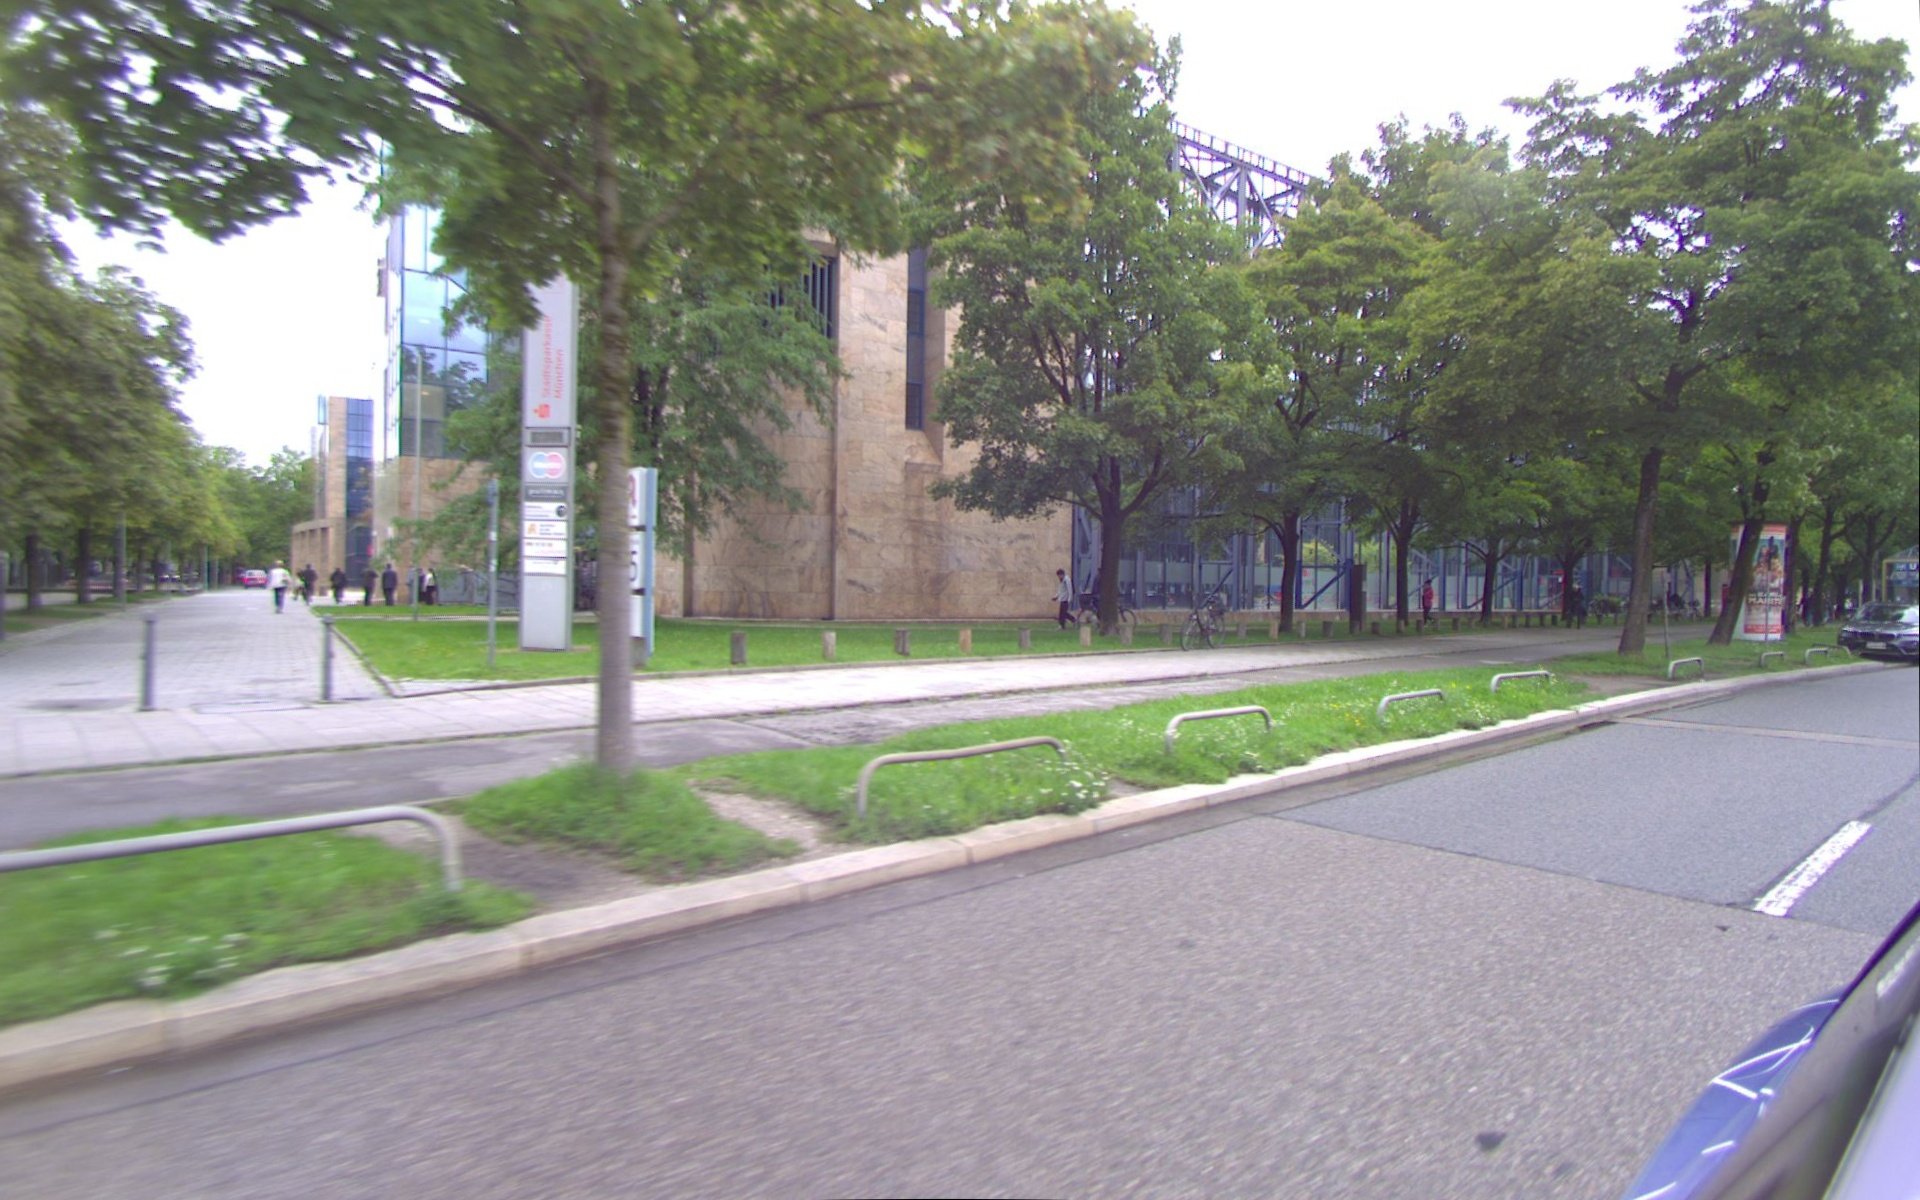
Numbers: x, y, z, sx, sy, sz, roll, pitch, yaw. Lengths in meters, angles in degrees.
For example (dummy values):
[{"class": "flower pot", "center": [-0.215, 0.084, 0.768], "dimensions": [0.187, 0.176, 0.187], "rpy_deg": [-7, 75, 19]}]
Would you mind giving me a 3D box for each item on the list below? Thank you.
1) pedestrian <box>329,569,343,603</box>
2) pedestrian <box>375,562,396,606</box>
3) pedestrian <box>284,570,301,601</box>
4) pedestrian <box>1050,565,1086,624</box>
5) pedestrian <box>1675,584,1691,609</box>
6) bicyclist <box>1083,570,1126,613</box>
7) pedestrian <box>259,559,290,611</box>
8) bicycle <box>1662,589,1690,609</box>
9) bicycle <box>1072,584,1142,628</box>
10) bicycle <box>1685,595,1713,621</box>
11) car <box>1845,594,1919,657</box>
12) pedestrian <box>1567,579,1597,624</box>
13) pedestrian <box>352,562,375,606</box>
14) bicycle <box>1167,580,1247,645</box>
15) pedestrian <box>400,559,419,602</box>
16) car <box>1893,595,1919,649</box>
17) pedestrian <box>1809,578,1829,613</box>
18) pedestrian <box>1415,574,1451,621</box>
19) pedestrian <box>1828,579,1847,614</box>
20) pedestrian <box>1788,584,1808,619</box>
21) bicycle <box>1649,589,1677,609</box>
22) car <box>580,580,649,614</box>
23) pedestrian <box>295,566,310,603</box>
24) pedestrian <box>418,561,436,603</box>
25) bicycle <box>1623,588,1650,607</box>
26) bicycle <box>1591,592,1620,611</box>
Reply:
[{"class": "pedestrian", "center": [-28.860, -0.647, 46.819], "dimensions": [0.503, 1.589, 0.421], "rpy_deg": [1, 1, -25]}, {"class": "pedestrian", "center": [-22.157, -0.614, 39.052], "dimensions": [0.581, 1.699, 0.504], "rpy_deg": [1, 1, -15]}, {"class": "pedestrian", "center": [-34.677, -0.766, 52.585], "dimensions": [0.584, 1.589, 0.421], "rpy_deg": [1, 1, -8]}, {"class": "pedestrian", "center": [3.089, -0.148, 28.984], "dimensions": [0.860, 1.666, 0.574], "rpy_deg": [1, 1, -14]}, {"class": "pedestrian", "center": [35.617, -0.175, 49.837], "dimensions": [0.418, 1.193, 0.507], "rpy_deg": [-1, 3, -35]}, {"class": "bicyclist", "center": [3.929, -0.229, 27.526], "dimensions": [0.939, 1.144, 0.728], "rpy_deg": [1, 1, -11]}, {"class": "pedestrian", "center": [-22.828, -0.500, 33.707], "dimensions": [0.849, 1.699, 0.589], "rpy_deg": [0, 1, -36]}, {"class": "bicycle", "center": [35.746, -0.067, 50.524], "dimensions": [2.102, 0.952, 0.513], "rpy_deg": [0, 1, -37]}, {"class": "bicycle", "center": [3.998, 0.160, 27.547], "dimensions": [1.730, 1.144, 0.728], "rpy_deg": [1, 1, -11]}, {"class": "bicycle", "center": [36.408, 0.375, 49.865], "dimensions": [2.102, 1.207, 0.513], "rpy_deg": [-1, 2, -37]}, {"class": "car", "center": [26.470, 0.652, 28.239], "dimensions": [4.519, 1.610, 1.866], "rpy_deg": [0, 2, -38]}, {"class": "pedestrian", "center": [23.664, 0.055, 38.494], "dimensions": [0.633, 1.665, 0.739], "rpy_deg": [-1, 3, -36]}, {"class": "pedestrian", "center": [-23.064, -0.621, 39.142], "dimensions": [0.585, 1.699, 0.500], "rpy_deg": [1, 1, 16]}, {"class": "bicycle", "center": [5.068, 0.238, 20.724], "dimensions": [1.887, 1.266, 0.621], "rpy_deg": [0, 2, -42]}, {"class": "pedestrian", "center": [-21.645, -0.772, 39.808], "dimensions": [0.582, 1.699, 0.563], "rpy_deg": [0, 1, -37]}, {"class": "car", "center": [30.221, 0.667, 31.212], "dimensions": [3.558, 1.593, 1.555], "rpy_deg": [0, 2, -38]}, {"class": "pedestrian", "center": [43.463, -0.222, 51.221], "dimensions": [0.601, 1.710, 0.612], "rpy_deg": [-1, 3, -40]}, {"class": "pedestrian", "center": [17.083, -0.109, 36.576], "dimensions": [0.845, 1.665, 0.741], "rpy_deg": [0, 3, -21]}, {"class": "pedestrian", "center": [43.858, -0.179, 50.573], "dimensions": [0.649, 1.743, 0.528], "rpy_deg": [-1, 3, -40]}, {"class": "pedestrian", "center": [41.275, 0.067, 49.843], "dimensions": [0.426, 1.661, 0.612], "rpy_deg": [-1, 3, -38]}, {"class": "bicycle", "center": [35.373, -0.059, 50.912], "dimensions": [2.102, 0.952, 0.513], "rpy_deg": [0, 1, -37]}, {"class": "car", "center": [-11.255, -0.123, 33.005], "dimensions": [2.041, 1.026, 0.677], "rpy_deg": [-2, 3, -40]}, {"class": "pedestrian", "center": [-29.052, -0.685, 44.723], "dimensions": [0.504, 1.651, 0.506], "rpy_deg": [0, 1, -30]}, {"class": "pedestrian", "center": [-21.528, -0.739, 40.869], "dimensions": [0.591, 1.699, 0.495], "rpy_deg": [2, 1, 44]}, {"class": "bicycle", "center": [34.089, -0.124, 50.984], "dimensions": [1.730, 0.952, 0.619], "rpy_deg": [0, 1, -37]}, {"class": "bicycle", "center": [32.839, 0.069, 51.466], "dimensions": [2.026, 0.952, 0.572], "rpy_deg": [-1, 2, -37]}]
